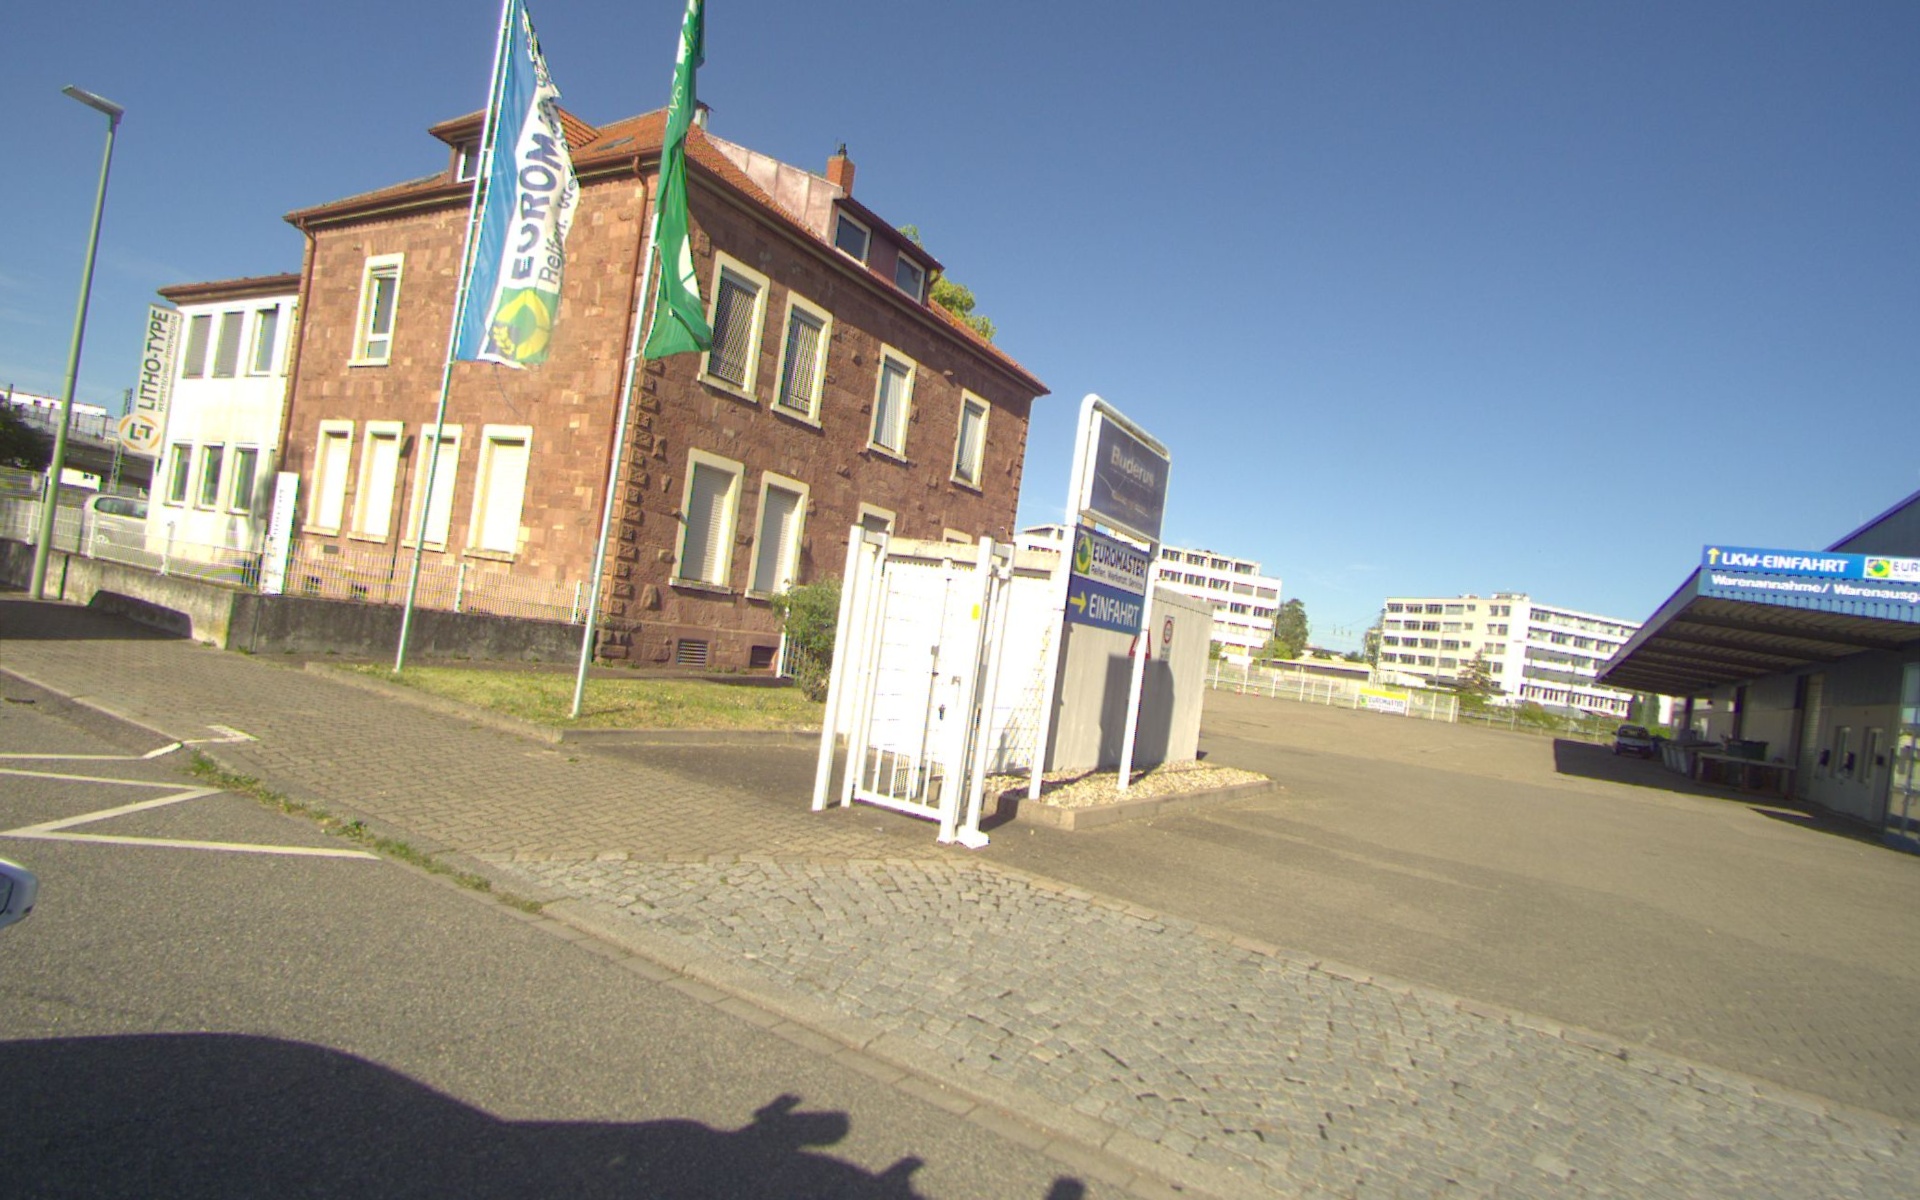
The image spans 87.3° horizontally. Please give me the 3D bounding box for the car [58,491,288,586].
[{"bbox_3d":[-24.012,-1.833,30.907,5.077,2.037,1.877,8,-1,-12],"label":"car"}]

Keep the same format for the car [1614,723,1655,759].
[{"bbox_3d":[39.320,8.213,58.666,1.739,1.754,3.472,7,-2,35],"label":"car"}]

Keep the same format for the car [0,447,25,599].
[{"bbox_3d":[-12.018,-0.818,10.501,5.076,2.035,1.879,6,-3,32],"label":"car"}]
